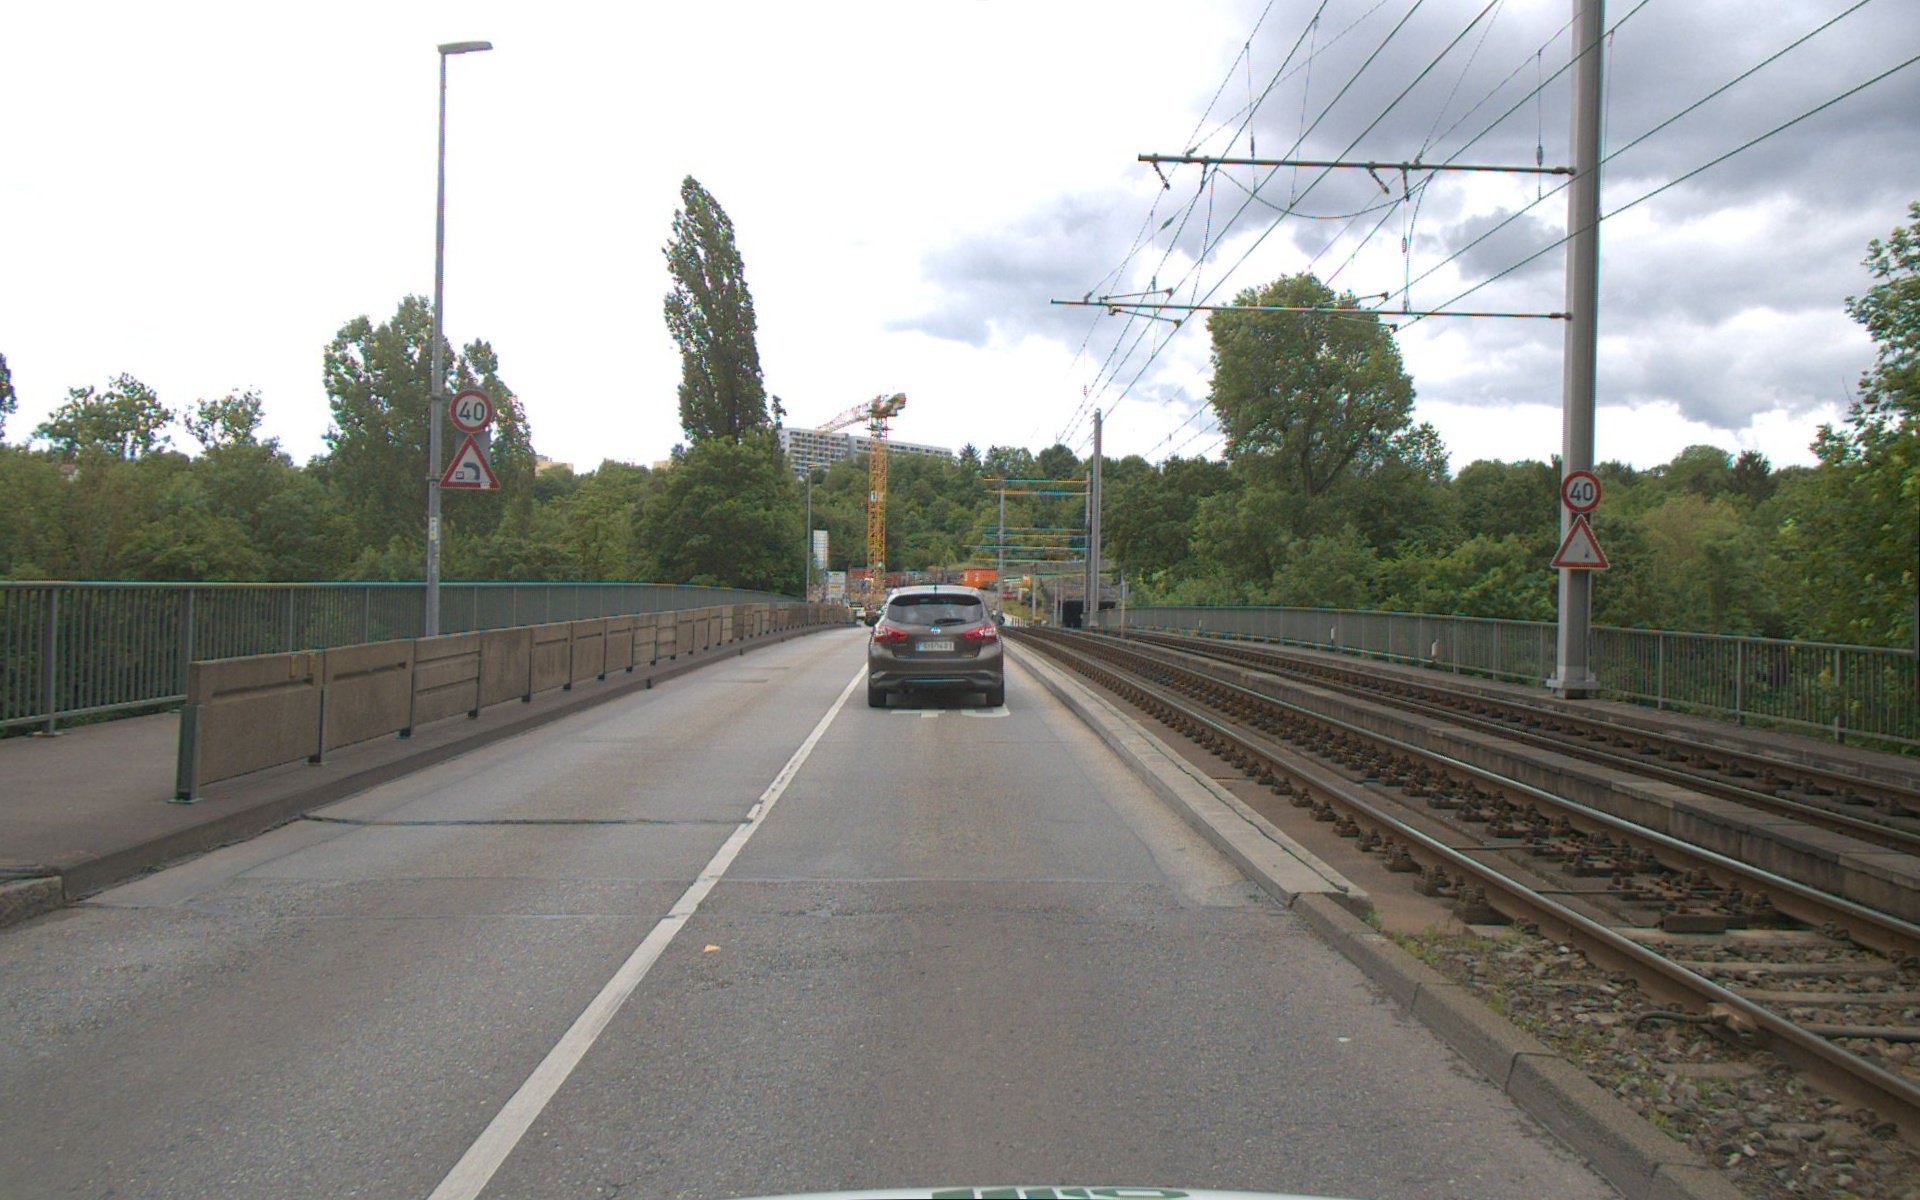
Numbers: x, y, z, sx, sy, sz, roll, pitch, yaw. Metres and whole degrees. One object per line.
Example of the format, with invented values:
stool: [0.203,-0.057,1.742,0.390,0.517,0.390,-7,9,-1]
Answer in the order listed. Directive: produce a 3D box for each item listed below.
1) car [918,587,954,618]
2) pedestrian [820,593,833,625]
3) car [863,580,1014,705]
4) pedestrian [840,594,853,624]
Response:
car: [-1.356,0.117,91.511,1.647,1.634,4.305,2,0,-5]
pedestrian: [-7.845,0.524,97.367,0.706,1.872,0.723,0,-1,-1]
car: [-0.377,0.539,22.279,1.794,1.536,3.996,0,-1,-4]
pedestrian: [-6.643,0.538,96.512,0.706,1.731,0.723,0,-1,-1]
